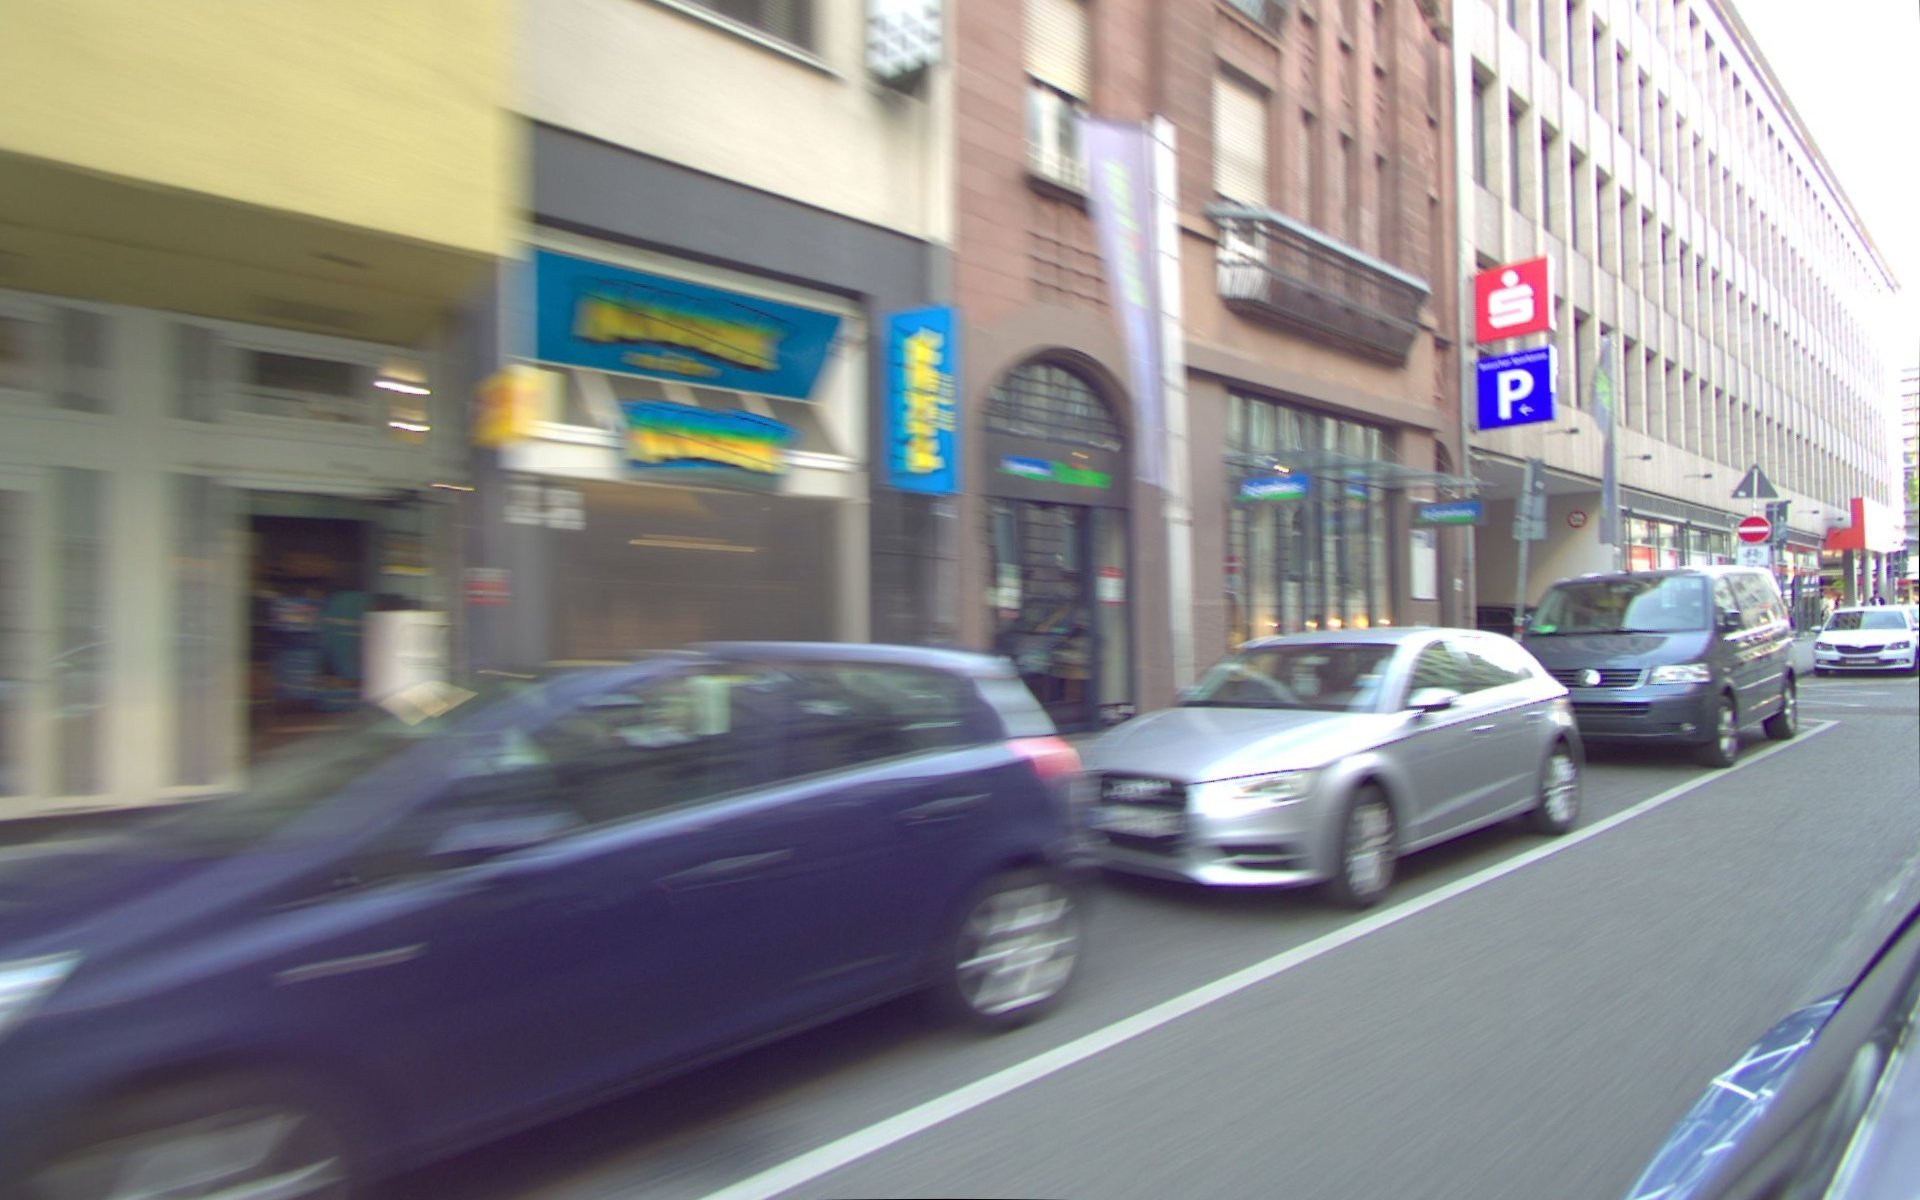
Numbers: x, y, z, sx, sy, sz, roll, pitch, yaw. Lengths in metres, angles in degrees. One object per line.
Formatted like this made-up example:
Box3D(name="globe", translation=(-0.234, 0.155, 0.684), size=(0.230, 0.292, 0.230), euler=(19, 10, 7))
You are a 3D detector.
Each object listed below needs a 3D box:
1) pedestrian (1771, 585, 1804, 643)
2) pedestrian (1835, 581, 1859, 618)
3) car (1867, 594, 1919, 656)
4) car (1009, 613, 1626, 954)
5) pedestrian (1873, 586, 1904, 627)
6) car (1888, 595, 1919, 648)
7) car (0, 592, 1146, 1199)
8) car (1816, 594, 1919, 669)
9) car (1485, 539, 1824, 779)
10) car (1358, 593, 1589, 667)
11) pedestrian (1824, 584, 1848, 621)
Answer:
Box3D(name="pedestrian", translation=(24.297, 0.404, 29.712), size=(0.639, 1.656, 0.649), euler=(0, 0, -41))
Box3D(name="pedestrian", translation=(43.248, -0.024, 49.329), size=(0.676, 1.784, 0.798), euler=(1, -1, -44))
Box3D(name="car", translation=(24.723, 0.592, 25.976), size=(4.370, 1.466, 1.658), euler=(-1, -2, -42))
Box3D(name="car", translation=(2.536, 0.876, 6.573), size=(4.417, 1.472, 1.689), euler=(0, -3, -39))
Box3D(name="pedestrian", translation=(43.397, 0.304, 47.314), size=(0.786, 1.943, 0.686), euler=(0, -1, 8))
Box3D(name="car", translation=(28.717, 0.579, 29.696), size=(3.801, 1.466, 1.659), euler=(-1, -2, -40))
Box3D(name="car", translation=(-1.330, 0.800, 3.368), size=(4.101, 1.536, 1.620), euler=(0, -4, -42))
Box3D(name="car", translation=(20.261, 0.639, 22.165), size=(4.233, 1.466, 1.659), euler=(-1, -2, -41))
Box3D(name="car", translation=(7.798, 0.505, 11.141), size=(4.967, 2.084, 1.849), euler=(-1, -2, -41))
Box3D(name="car", translation=(11.856, 0.691, 23.613), size=(1.884, 1.520, 4.407), euler=(-1, -1, -41))
Box3D(name="pedestrian", translation=(42.442, 0.125, 49.022), size=(0.676, 1.784, 0.798), euler=(1, -1, -44))
